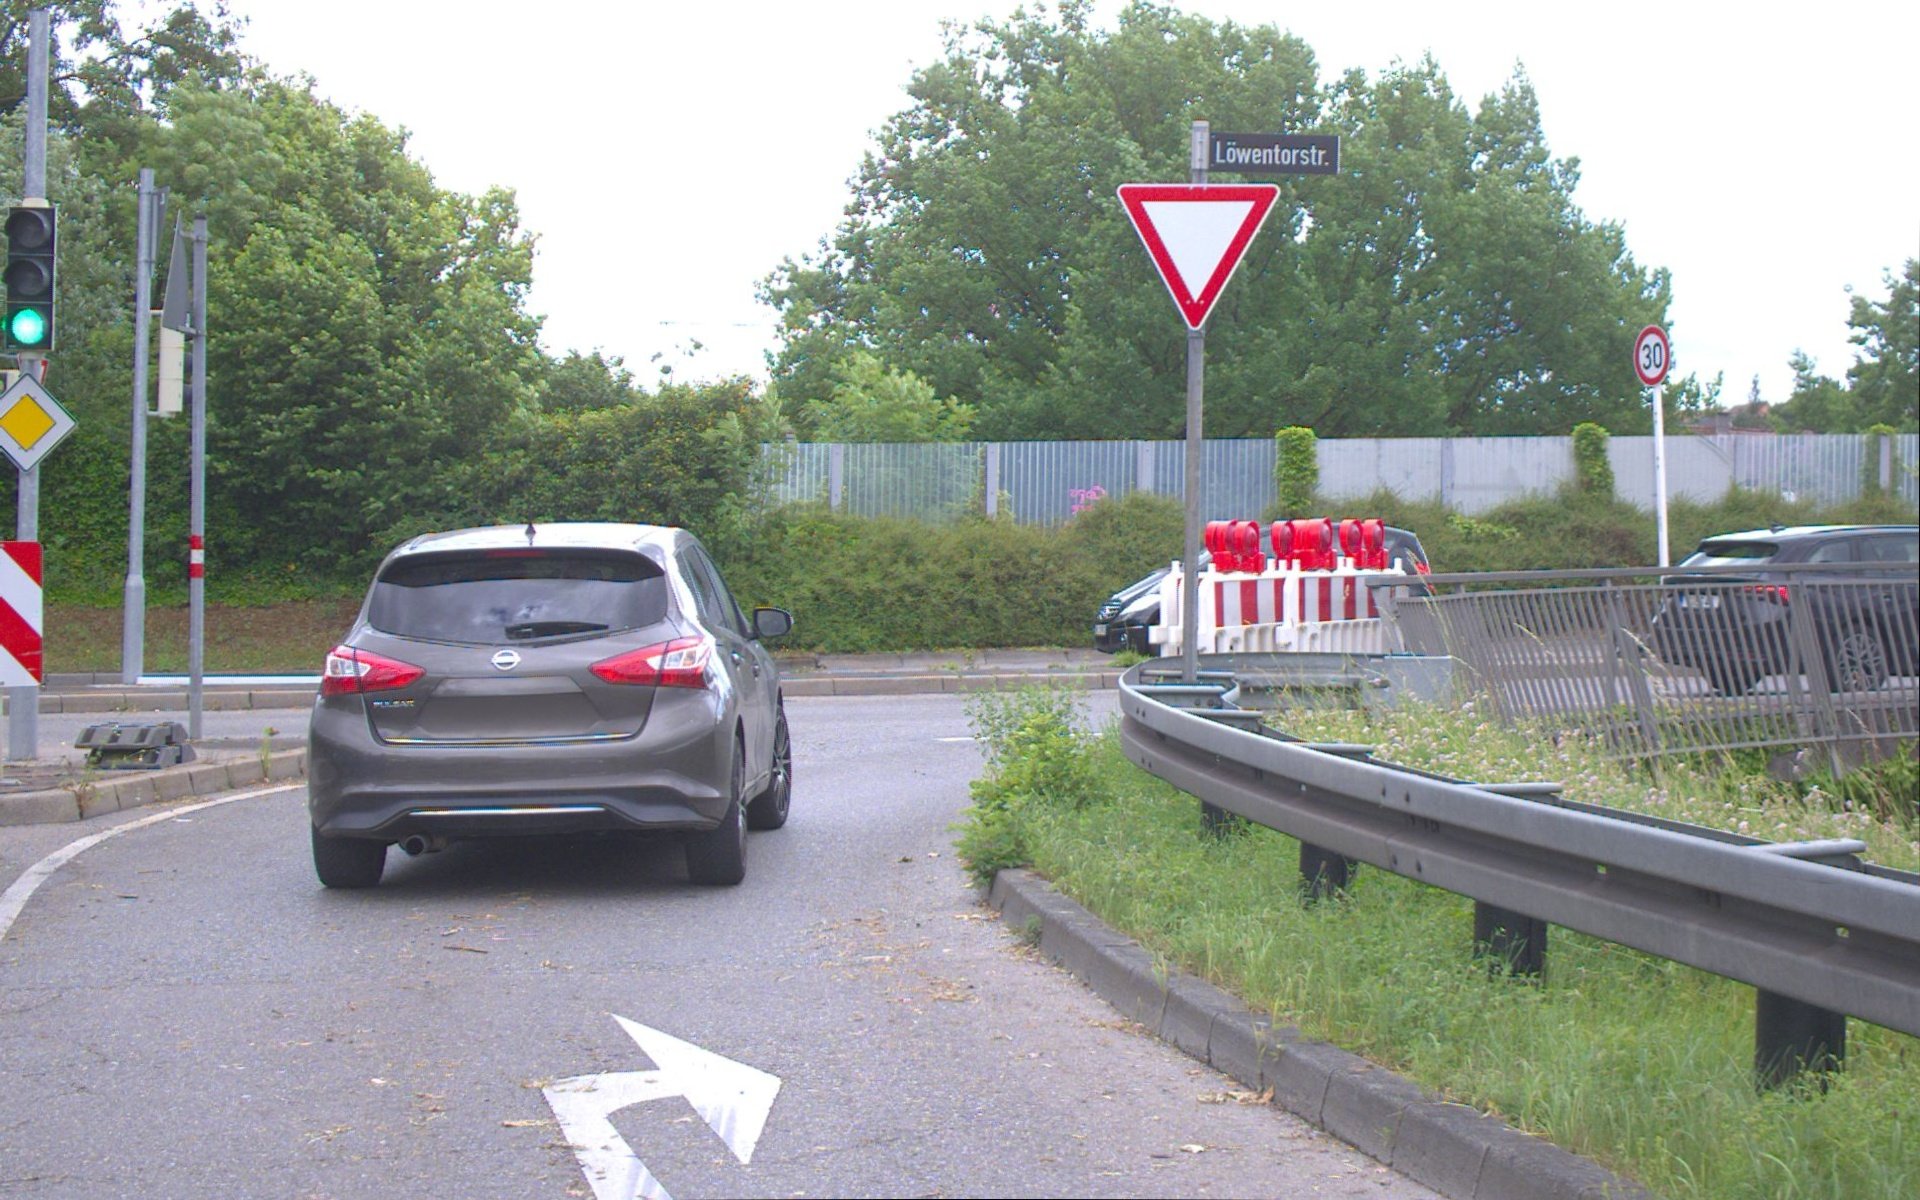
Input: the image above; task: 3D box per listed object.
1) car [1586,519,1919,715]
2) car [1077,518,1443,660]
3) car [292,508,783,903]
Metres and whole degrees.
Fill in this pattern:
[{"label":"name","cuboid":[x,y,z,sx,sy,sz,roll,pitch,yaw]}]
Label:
[{"label":"car","cuboid":[7.586,0.161,29.853,3.775,1.546,1.826,2,1,-22]},{"label":"car","cuboid":[3.366,-0.101,38.808,3.775,1.547,1.644,0,-1,-14]},{"label":"car","cuboid":[-1.767,0.382,15.546,1.797,1.547,4.000,0,1,-1]}]
